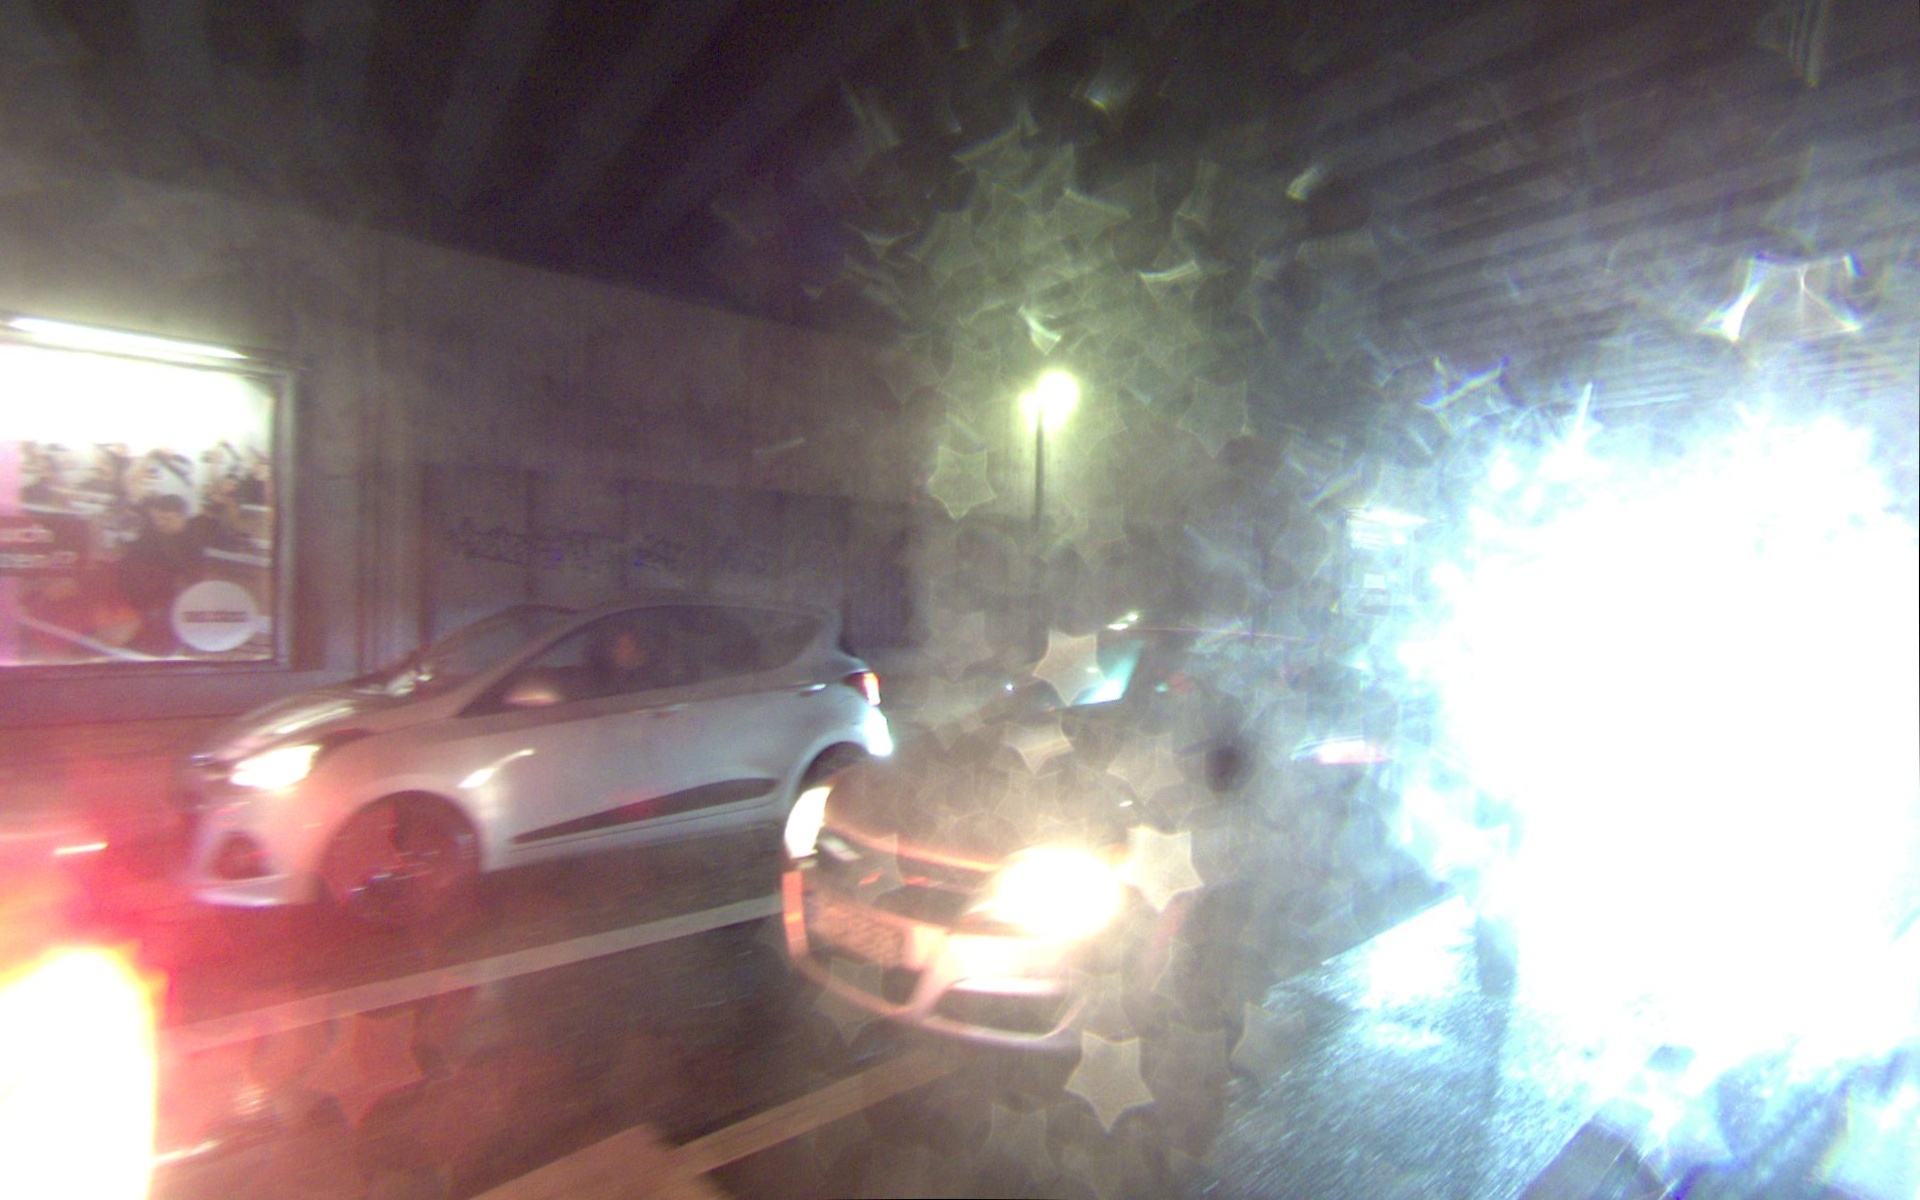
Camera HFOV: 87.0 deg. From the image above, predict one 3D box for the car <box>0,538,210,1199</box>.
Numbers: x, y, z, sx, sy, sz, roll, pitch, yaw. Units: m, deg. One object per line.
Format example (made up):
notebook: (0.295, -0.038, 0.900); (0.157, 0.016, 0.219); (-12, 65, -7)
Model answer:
car: (-3.162, 0.637, 0.544); (4.307, 1.464, 1.723); (0, 3, -42)

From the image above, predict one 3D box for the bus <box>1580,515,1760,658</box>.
bus: (19.610, -0.388, 27.629); (2.733, 3.278, 9.550); (1, 1, 43)

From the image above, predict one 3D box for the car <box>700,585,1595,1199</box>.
car: (1.138, 0.689, 4.435); (4.091, 1.464, 1.723); (0, 1, -42)

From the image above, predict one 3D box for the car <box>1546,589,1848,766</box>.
car: (7.878, 0.677, 10.675); (4.091, 1.506, 1.722); (0, -2, -42)

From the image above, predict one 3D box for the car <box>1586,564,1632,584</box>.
car: (46.001, -1.828, 71.813); (1.685, 1.407, 3.979); (1, 1, 17)

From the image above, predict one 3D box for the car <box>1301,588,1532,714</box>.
car: (6.716, 0.609, 14.669); (1.721, 1.505, 4.096); (4, 3, 44)

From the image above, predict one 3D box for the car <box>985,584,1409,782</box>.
car: (2.553, 0.622, 10.086); (4.705, 1.505, 1.723); (0, 2, -42)

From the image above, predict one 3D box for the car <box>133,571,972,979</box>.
car: (-2.029, 0.622, 5.761); (4.091, 1.464, 1.723); (0, 3, -42)

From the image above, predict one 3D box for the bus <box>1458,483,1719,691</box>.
bus: (13.128, -0.279, 20.599); (2.733, 3.318, 9.550); (1, 1, 43)

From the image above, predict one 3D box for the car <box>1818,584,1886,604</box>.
car: (64.925, -0.472, 73.728); (1.874, 1.407, 4.590); (1, 1, 16)

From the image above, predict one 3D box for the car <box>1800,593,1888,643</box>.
car: (29.396, 0.546, 33.756); (1.746, 1.464, 3.923); (3, 3, 35)

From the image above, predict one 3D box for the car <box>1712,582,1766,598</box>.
car: (67.731, -0.893, 88.045); (1.872, 1.407, 4.822); (1, 1, 13)
